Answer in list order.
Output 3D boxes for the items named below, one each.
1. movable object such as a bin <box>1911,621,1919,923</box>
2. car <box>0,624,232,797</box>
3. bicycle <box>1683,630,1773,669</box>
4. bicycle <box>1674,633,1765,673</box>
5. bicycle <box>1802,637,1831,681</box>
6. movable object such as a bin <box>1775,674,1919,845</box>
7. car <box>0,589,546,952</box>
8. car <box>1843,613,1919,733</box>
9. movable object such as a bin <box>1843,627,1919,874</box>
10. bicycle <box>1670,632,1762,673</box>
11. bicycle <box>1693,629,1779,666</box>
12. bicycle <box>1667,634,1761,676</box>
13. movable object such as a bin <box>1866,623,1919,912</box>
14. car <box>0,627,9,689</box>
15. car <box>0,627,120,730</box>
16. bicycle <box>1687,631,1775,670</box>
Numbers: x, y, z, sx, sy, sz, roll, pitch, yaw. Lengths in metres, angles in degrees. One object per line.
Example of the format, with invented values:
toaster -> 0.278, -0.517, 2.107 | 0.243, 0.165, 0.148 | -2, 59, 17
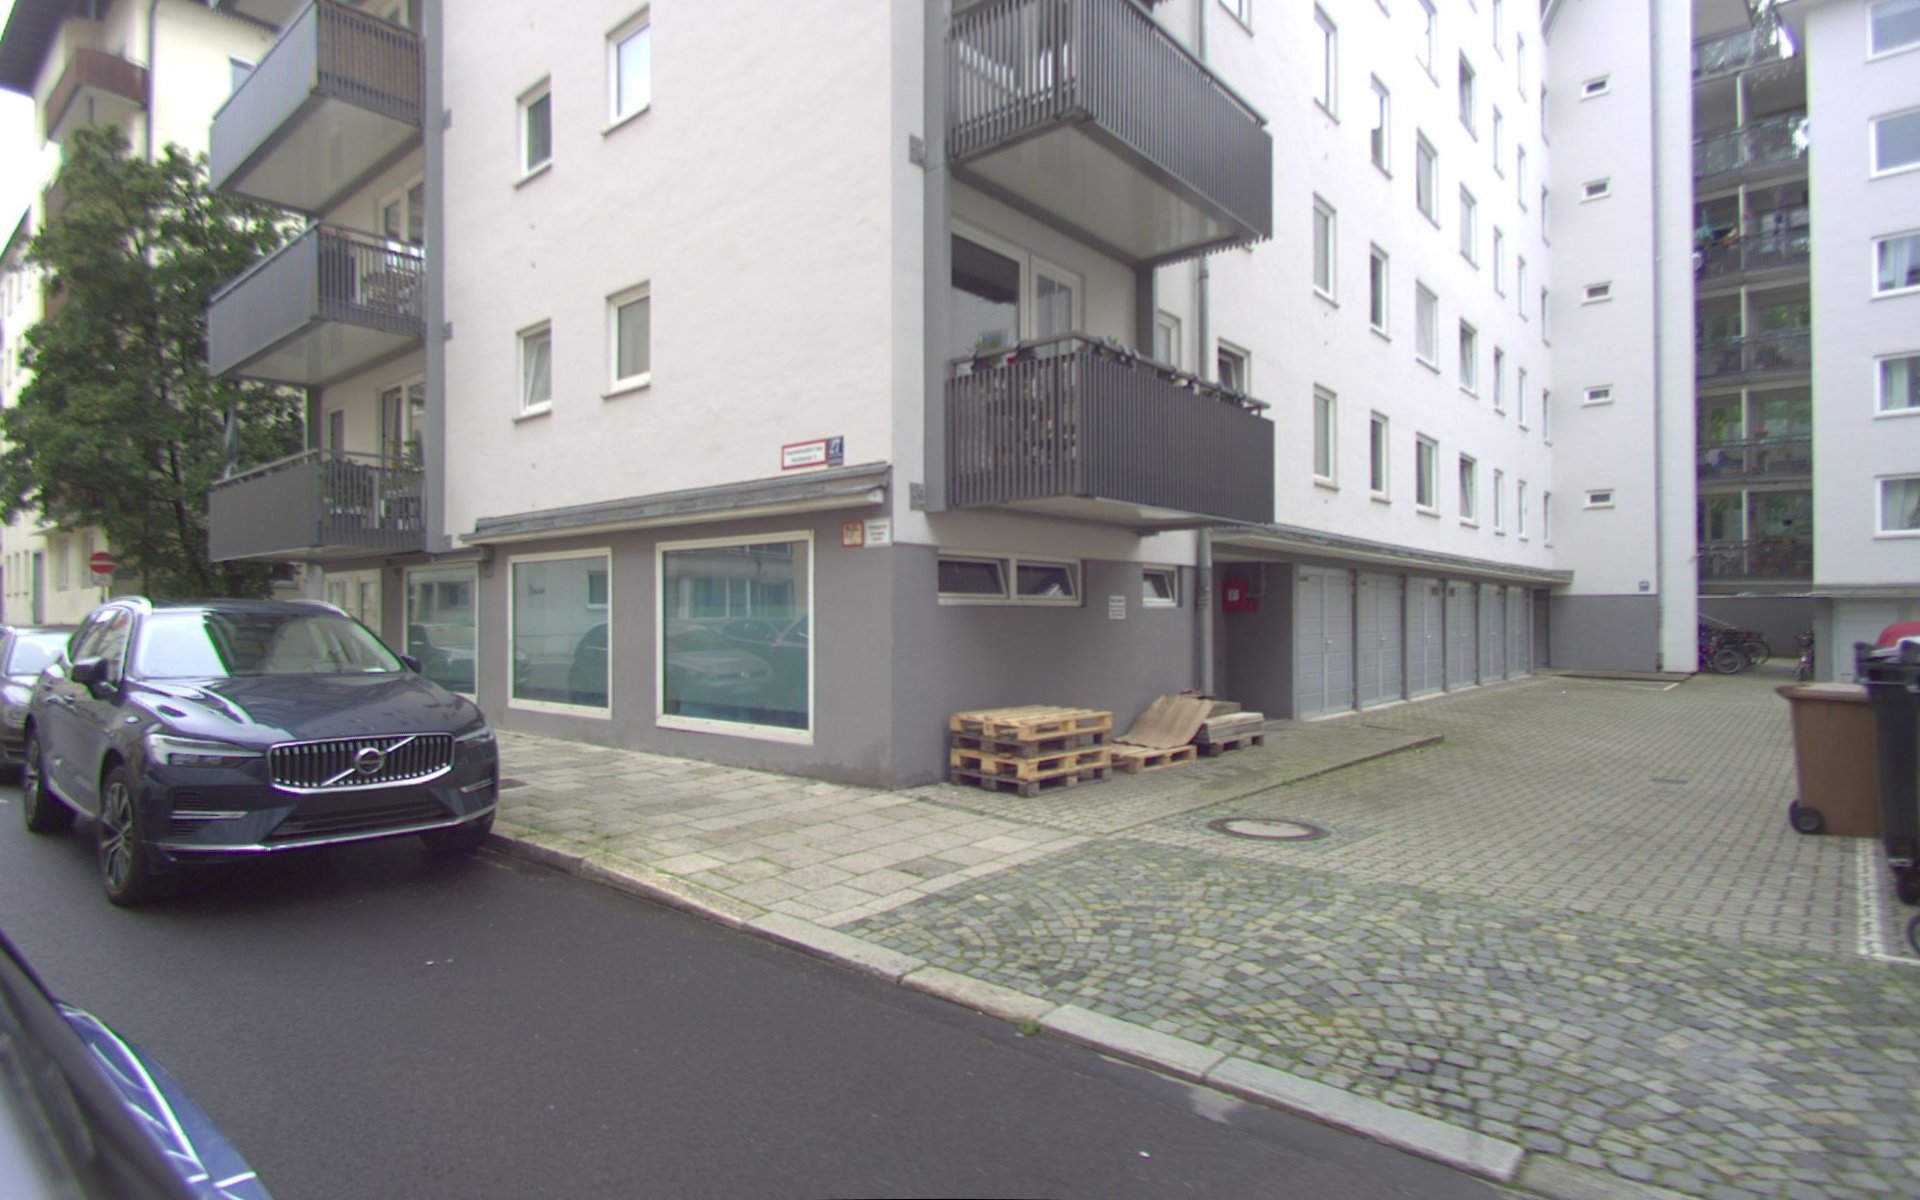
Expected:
movable object such as a bin -> 4.553, 0.769, 3.999 | 1.103, 1.364, 1.099 | -1, -1, 42
car -> -9.355, 0.993, 10.654 | 4.294, 1.453, 1.794 | -1, -1, 41
bicycle -> 21.831, 1.383, 28.783 | 1.990, 1.068, 0.598 | -1, -2, 40
bicycle -> 21.213, 1.458, 28.275 | 1.990, 1.068, 0.598 | -1, -2, 40
bicycle -> 21.199, 1.442, 25.035 | 0.489, 0.988, 2.017 | -1, -1, 42
movable object such as a bin -> 6.361, 1.101, 7.245 | 0.770, 1.084, 0.669 | -1, -1, 42
car -> -4.802, 0.800, 6.760 | 4.538, 1.619, 1.946 | -1, -1, 41
car -> 13.752, 0.945, 14.233 | 1.804, 1.497, 3.942 | -2, -1, 44
movable object such as a bin -> 6.156, 0.864, 6.005 | 1.348, 1.385, 1.321 | -1, -1, 42
bicycle -> 20.751, 1.429, 27.797 | 1.990, 1.068, 0.598 | -1, -2, 40
bicycle -> 23.036, 1.388, 30.072 | 1.990, 1.068, 0.598 | -1, -2, 40
bicycle -> 20.251, 1.468, 27.220 | 1.990, 1.068, 0.598 | -1, -2, 40
movable object such as a bin -> 5.295, 0.814, 5.029 | 1.153, 1.385, 1.078 | -1, -1, 42
car -> -23.693, 1.324, 23.484 | 4.294, 1.387, 1.946 | -1, -1, 41
car -> -14.987, 1.160, 15.994 | 4.294, 1.410, 1.946 | -1, -1, 41
bicycle -> 22.360, 1.446, 29.374 | 1.990, 1.068, 0.598 | -1, -2, 40
